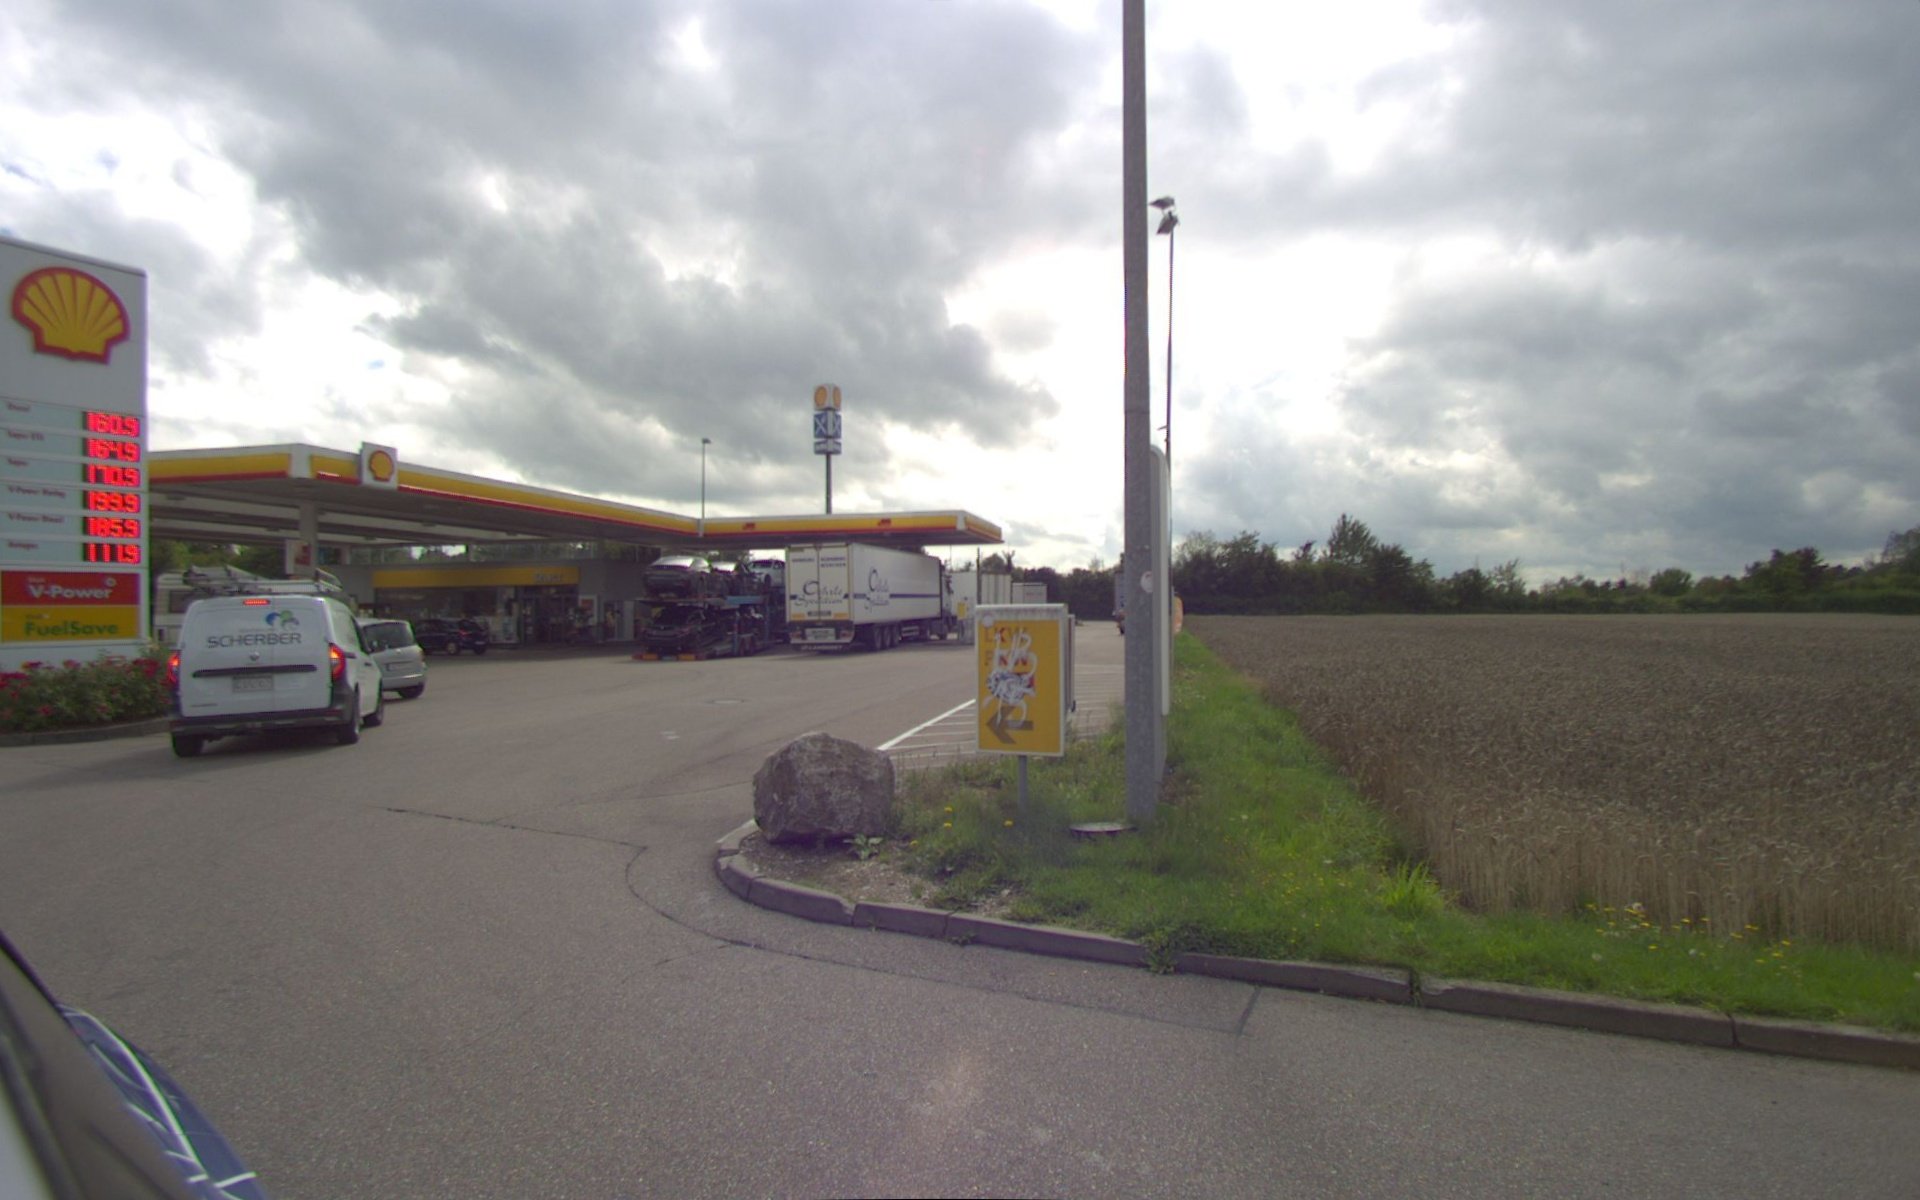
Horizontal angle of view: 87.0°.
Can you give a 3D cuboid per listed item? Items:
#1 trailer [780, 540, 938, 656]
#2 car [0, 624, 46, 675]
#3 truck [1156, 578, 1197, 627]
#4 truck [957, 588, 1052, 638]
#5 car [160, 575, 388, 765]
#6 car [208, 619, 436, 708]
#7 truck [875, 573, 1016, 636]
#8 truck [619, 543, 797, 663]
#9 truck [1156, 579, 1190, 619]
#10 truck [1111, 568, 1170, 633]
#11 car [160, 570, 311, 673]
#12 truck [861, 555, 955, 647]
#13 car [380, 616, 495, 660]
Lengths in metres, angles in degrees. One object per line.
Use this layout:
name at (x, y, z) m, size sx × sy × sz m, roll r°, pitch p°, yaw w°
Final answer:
trailer at (-3.764, 0.010, 42.259) m, size 2.685 × 4.055 × 12.796 m, roll -1°, pitch -1°, yaw 12°
car at (-31.778, 1.624, 33.508) m, size 1.820 × 1.586 × 4.009 m, roll 0°, pitch -1°, yaw -36°
truck at (18.964, 0.285, 87.953) m, size 2.798 × 3.923 × 15.386 m, roll 0°, pitch -1°, yaw 15°
truck at (3.826, 1.217, 91.179) m, size 2.943 × 4.142 × 11.611 m, roll -1°, pitch -1°, yaw -28°
car at (-8.541, 0.790, 12.951) m, size 1.765 × 2.027 × 3.894 m, roll -1°, pitch -1°, yaw -24°
car at (-12.094, 1.190, 19.233) m, size 3.686 × 1.559 × 1.572 m, roll -1°, pitch -1°, yaw 15°
truck at (-1.434, 0.362, 73.035) m, size 2.913 × 4.143 × 14.791 m, roll 0°, pitch -1°, yaw -32°
truck at (-9.372, 0.160, 39.921) m, size 2.717 × 3.953 × 13.239 m, roll 0°, pitch -1°, yaw 5°
truck at (22.215, -0.046, 104.956) m, size 2.798 × 3.923 × 12.747 m, roll 0°, pitch -1°, yaw 15°
truck at (12.632, 0.105, 69.692) m, size 2.798 × 3.923 × 15.386 m, roll 0°, pitch -1°, yaw 15°
car at (-21.899, 0.635, 30.904) m, size 2.186 × 2.808 × 5.826 m, roll -1°, pitch -1°, yaw -19°
truck at (-2.343, 0.098, 48.651) m, size 2.685 × 4.055 × 7.140 m, roll -1°, pitch -1°, yaw 12°
car at (-20.583, 1.487, 39.930) m, size 3.717 × 1.613 × 1.713 m, roll -1°, pitch -1°, yaw 8°
